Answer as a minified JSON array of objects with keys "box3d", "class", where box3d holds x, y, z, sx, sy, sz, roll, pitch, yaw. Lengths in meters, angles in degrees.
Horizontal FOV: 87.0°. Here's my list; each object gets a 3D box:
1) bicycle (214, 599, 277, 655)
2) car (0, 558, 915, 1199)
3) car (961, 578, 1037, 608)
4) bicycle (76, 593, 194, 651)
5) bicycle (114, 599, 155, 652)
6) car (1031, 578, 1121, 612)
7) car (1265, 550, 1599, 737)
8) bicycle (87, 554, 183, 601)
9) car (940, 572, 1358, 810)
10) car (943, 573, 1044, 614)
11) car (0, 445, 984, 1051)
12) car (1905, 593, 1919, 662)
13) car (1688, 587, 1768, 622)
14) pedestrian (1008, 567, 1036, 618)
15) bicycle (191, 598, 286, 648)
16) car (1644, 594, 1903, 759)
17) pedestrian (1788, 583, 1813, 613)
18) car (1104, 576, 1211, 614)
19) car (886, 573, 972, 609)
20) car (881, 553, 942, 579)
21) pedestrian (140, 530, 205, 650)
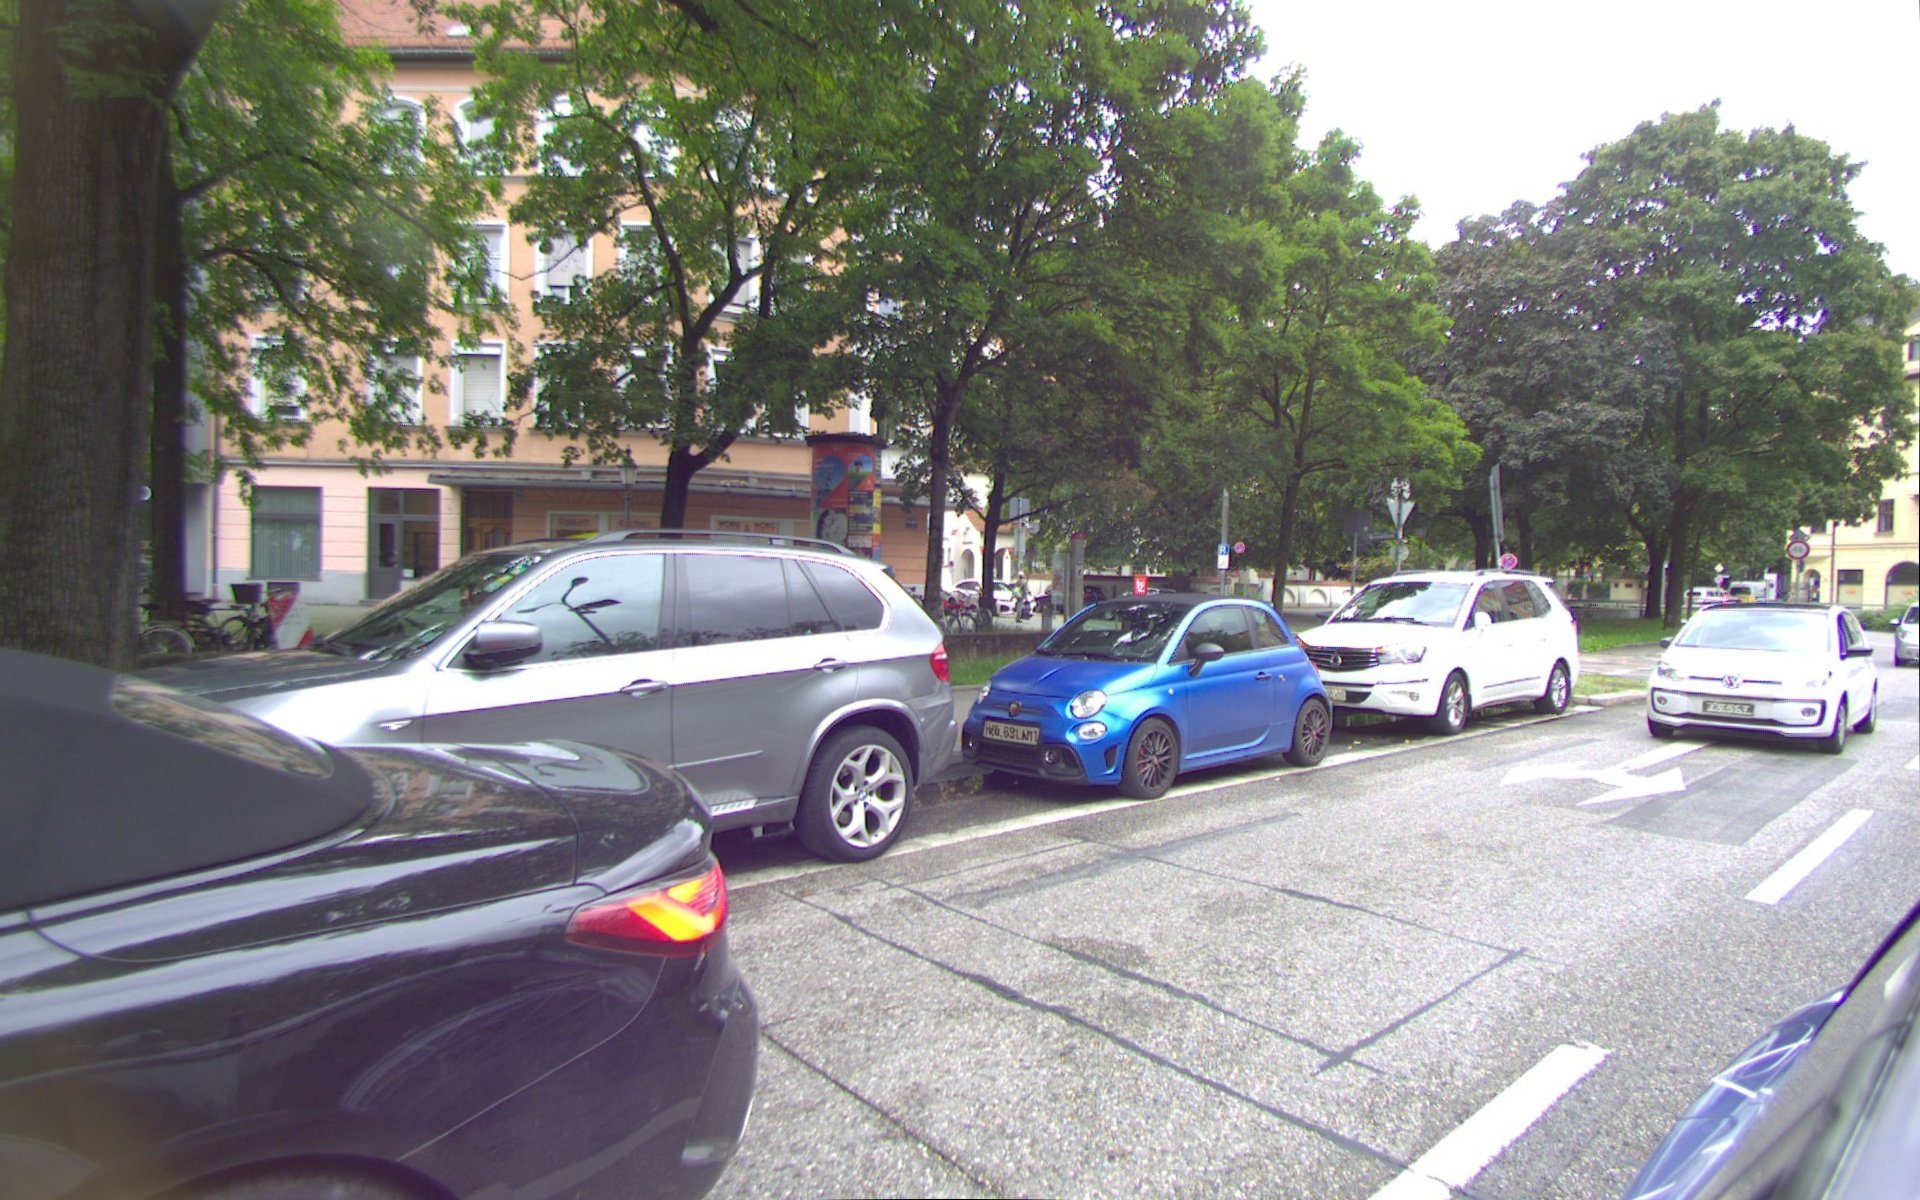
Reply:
[{"box3d":[-9.948,0.355,14.117,0.312,0.732,1.181,0,0,-15],"class":"bicycle"},{"box3d":[-2.445,0.630,1.228,4.714,1.406,1.727,0,2,-41],"class":"car"},{"box3d":[1.965,-0.376,52.436,1.824,1.485,4.446,-1,1,-31],"class":"car"},{"box3d":[-10.800,0.276,13.274,1.155,0.732,0.319,-1,0,-30],"class":"bicycle"},{"box3d":[-11.996,0.361,14.719,0.313,0.732,1.179,0,0,-32],"class":"bicycle"},{"box3d":[5.332,-0.250,47.029,1.824,1.485,4.446,-1,1,-31],"class":"car"},{"box3d":[5.979,0.416,12.492,4.935,1.879,1.847,0,1,-41],"class":"car"},{"box3d":[-23.274,-0.622,28.561,2.204,1.306,0.507,0,0,-4],"class":"bicycle"},{"box3d":[1.705,0.594,8.497,3.597,1.568,1.523,0,1,-41],"class":"car"},{"box3d":[1.237,-0.264,39.393,1.824,1.485,4.446,-1,1,-31],"class":"car"},{"box3d":[-2.127,0.420,5.231,1.933,1.842,4.480,2,2,45],"class":"car"},{"box3d":[23.625,0.647,23.822,3.820,1.549,1.647,0,2,-42],"class":"car"},{"box3d":[46.953,0.232,61.981,1.624,2.009,4.008,1,1,-4],"class":"car"},{"box3d":[1.952,-0.247,31.849,0.632,1.571,0.603,0,0,-35],"class":"pedestrian"},{"box3d":[-11.135,0.346,15.642,1.154,0.732,0.320,0,0,-19],"class":"bicycle"},{"box3d":[9.078,0.705,11.200,3.557,1.484,1.647,0,2,-42],"class":"car"},{"box3d":[58.107,-0.144,69.942,0.860,2.039,1.010,0,0,-9],"class":"pedestrian"},{"box3d":[8.083,-0.211,41.821,1.824,1.485,4.446,-1,1,-31],"class":"car"},{"box3d":[-1.393,-0.403,43.853,1.824,1.485,4.447,-1,1,-31],"class":"car"},{"box3d":[-2.964,-2.034,61.281,1.824,1.485,4.447,-1,1,-31],"class":"car"},{"box3d":[-12.887,-0.168,16.575,0.617,1.926,0.630,0,0,-13],"class":"pedestrian"}]
